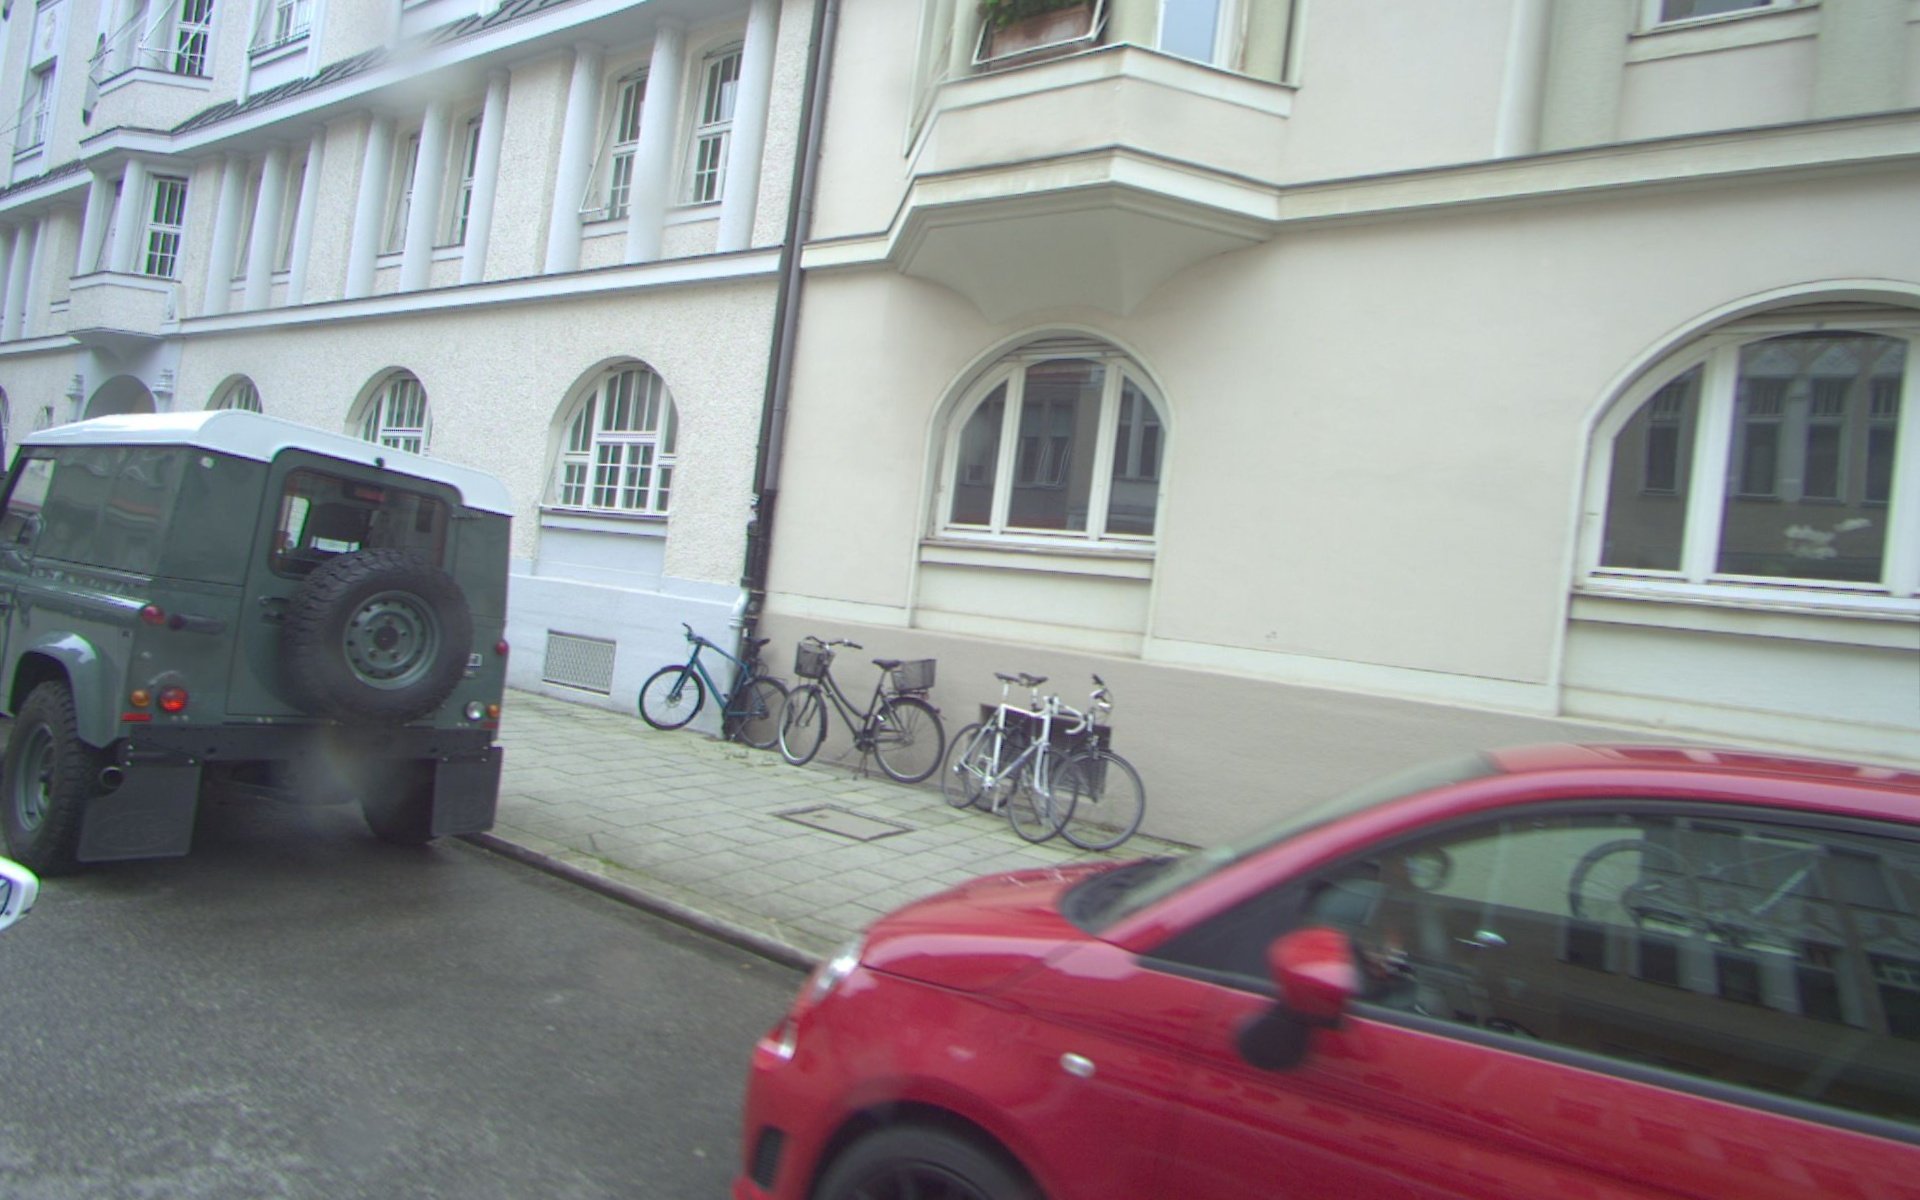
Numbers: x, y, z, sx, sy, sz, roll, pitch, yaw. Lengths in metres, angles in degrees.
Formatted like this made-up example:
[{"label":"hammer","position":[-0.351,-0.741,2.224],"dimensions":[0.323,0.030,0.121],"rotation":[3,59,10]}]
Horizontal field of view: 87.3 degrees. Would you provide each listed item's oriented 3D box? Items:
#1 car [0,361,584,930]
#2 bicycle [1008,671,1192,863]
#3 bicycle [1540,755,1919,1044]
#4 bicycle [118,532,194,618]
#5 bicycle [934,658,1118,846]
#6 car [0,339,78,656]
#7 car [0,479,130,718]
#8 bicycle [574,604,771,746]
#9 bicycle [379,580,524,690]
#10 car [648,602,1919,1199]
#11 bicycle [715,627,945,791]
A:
[{"label":"car","position":[-4.208,0.074,5.446],"dimensions":[4.004,2.063,1.799],"rotation":[6,-2,32]},{"label":"bicycle","position":[0.977,1.169,7.383],"dimensions":[0.313,1.130,1.548],"rotation":[8,-2,-30]},{"label":"bicycle","position":[4.189,1.524,5.346],"dimensions":[1.808,1.060,0.642],"rotation":[6,0,33]},{"label":"bicycle","position":[-12.379,-0.403,15.473],"dimensions":[1.763,1.164,0.481],"rotation":[6,-2,41]},{"label":"bicycle","position":[0.440,1.084,7.510],"dimensions":[0.427,1.130,1.587],"rotation":[8,-2,-30]},{"label":"car","position":[-12.152,-1.296,10.659],"dimensions":[6.031,2.992,2.260],"rotation":[5,-3,32]},{"label":"car","position":[-7.862,-0.142,7.597],"dimensions":[2.769,1.644,1.545],"rotation":[6,-2,33]},{"label":"bicycle","position":[-2.878,0.725,9.999],"dimensions":[1.935,1.130,0.647],"rotation":[6,-2,33]},{"label":"bicycle","position":[-6.005,0.396,11.847],"dimensions":[1.759,1.083,0.651],"rotation":[6,1,32]},{"label":"car","position":[1.233,0.996,1.971],"dimensions":[3.445,1.488,1.497],"rotation":[7,-3,31]},{"label":"bicycle","position":[-1.171,0.922,8.877],"dimensions":[1.935,1.130,0.642],"rotation":[6,-2,33]}]
